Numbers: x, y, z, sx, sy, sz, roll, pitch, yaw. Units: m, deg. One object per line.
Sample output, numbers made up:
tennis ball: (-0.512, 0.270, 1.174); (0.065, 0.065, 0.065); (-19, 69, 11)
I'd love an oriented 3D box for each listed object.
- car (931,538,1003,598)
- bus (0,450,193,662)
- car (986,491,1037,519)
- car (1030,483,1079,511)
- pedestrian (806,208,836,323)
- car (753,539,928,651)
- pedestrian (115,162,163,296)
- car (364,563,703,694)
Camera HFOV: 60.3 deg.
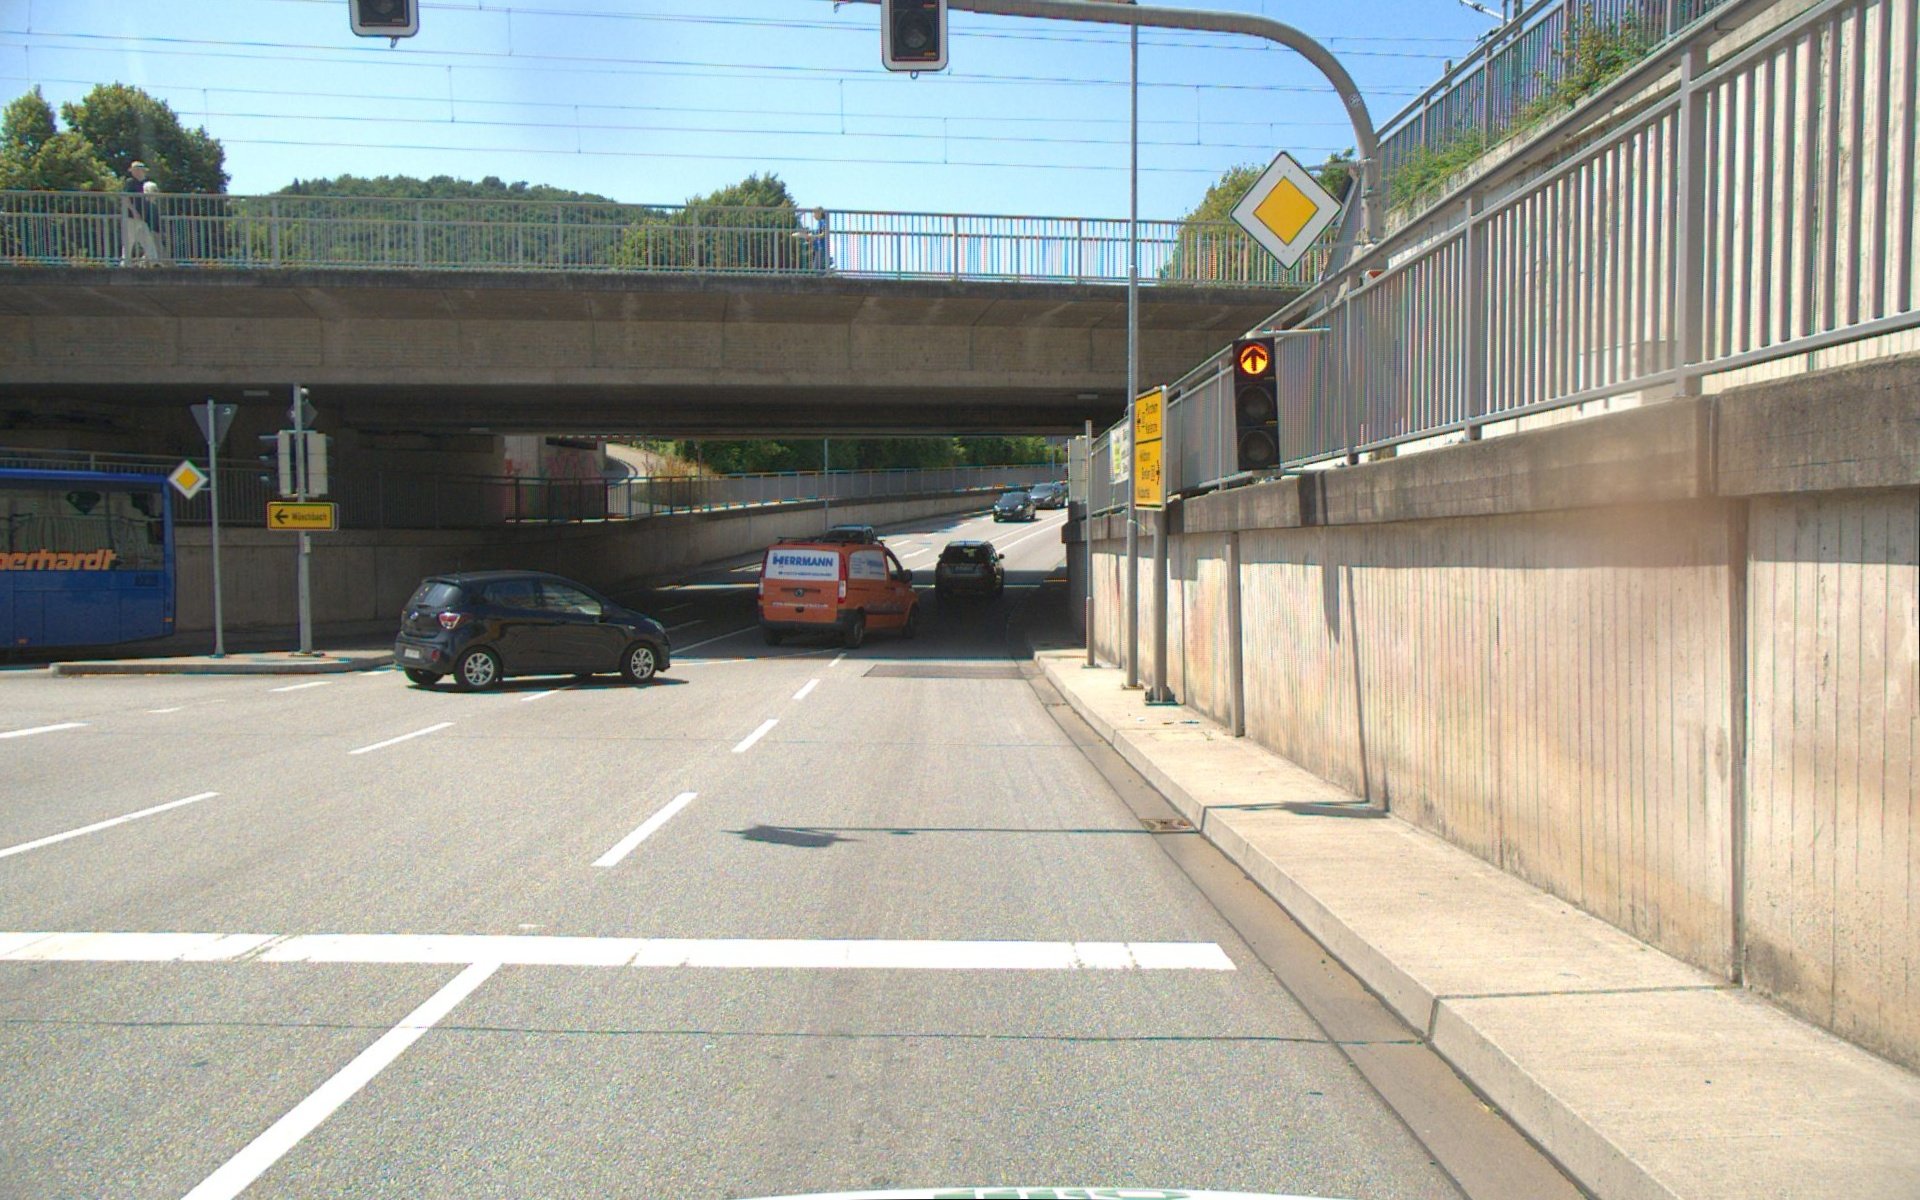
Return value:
car: (0.234, -0.973, 48.310); (1.766, 1.646, 4.004); (1, 2, 5)
bus: (-17.874, -0.631, 23.803); (12.282, 3.227, 2.548); (-2, 4, -44)
car: (2.778, -5.074, 88.680); (1.744, 1.461, 4.003); (1, 3, 17)
car: (5.715, -6.205, 99.475); (1.952, 1.616, 4.003); (1, 3, 19)
pedestrian: (-2.692, -6.478, 32.095); (0.529, 2.117, 0.534); (-1, 0, -8)
car: (-2.226, -0.182, 32.272); (1.833, 1.965, 4.723); (1, 3, 17)
pedestrian: (-13.853, -6.250, 27.917); (0.566, 2.117, 0.534); (-1, 0, -11)
car: (-5.644, 0.300, 22.101); (3.962, 1.534, 1.972); (-1, 3, -40)
